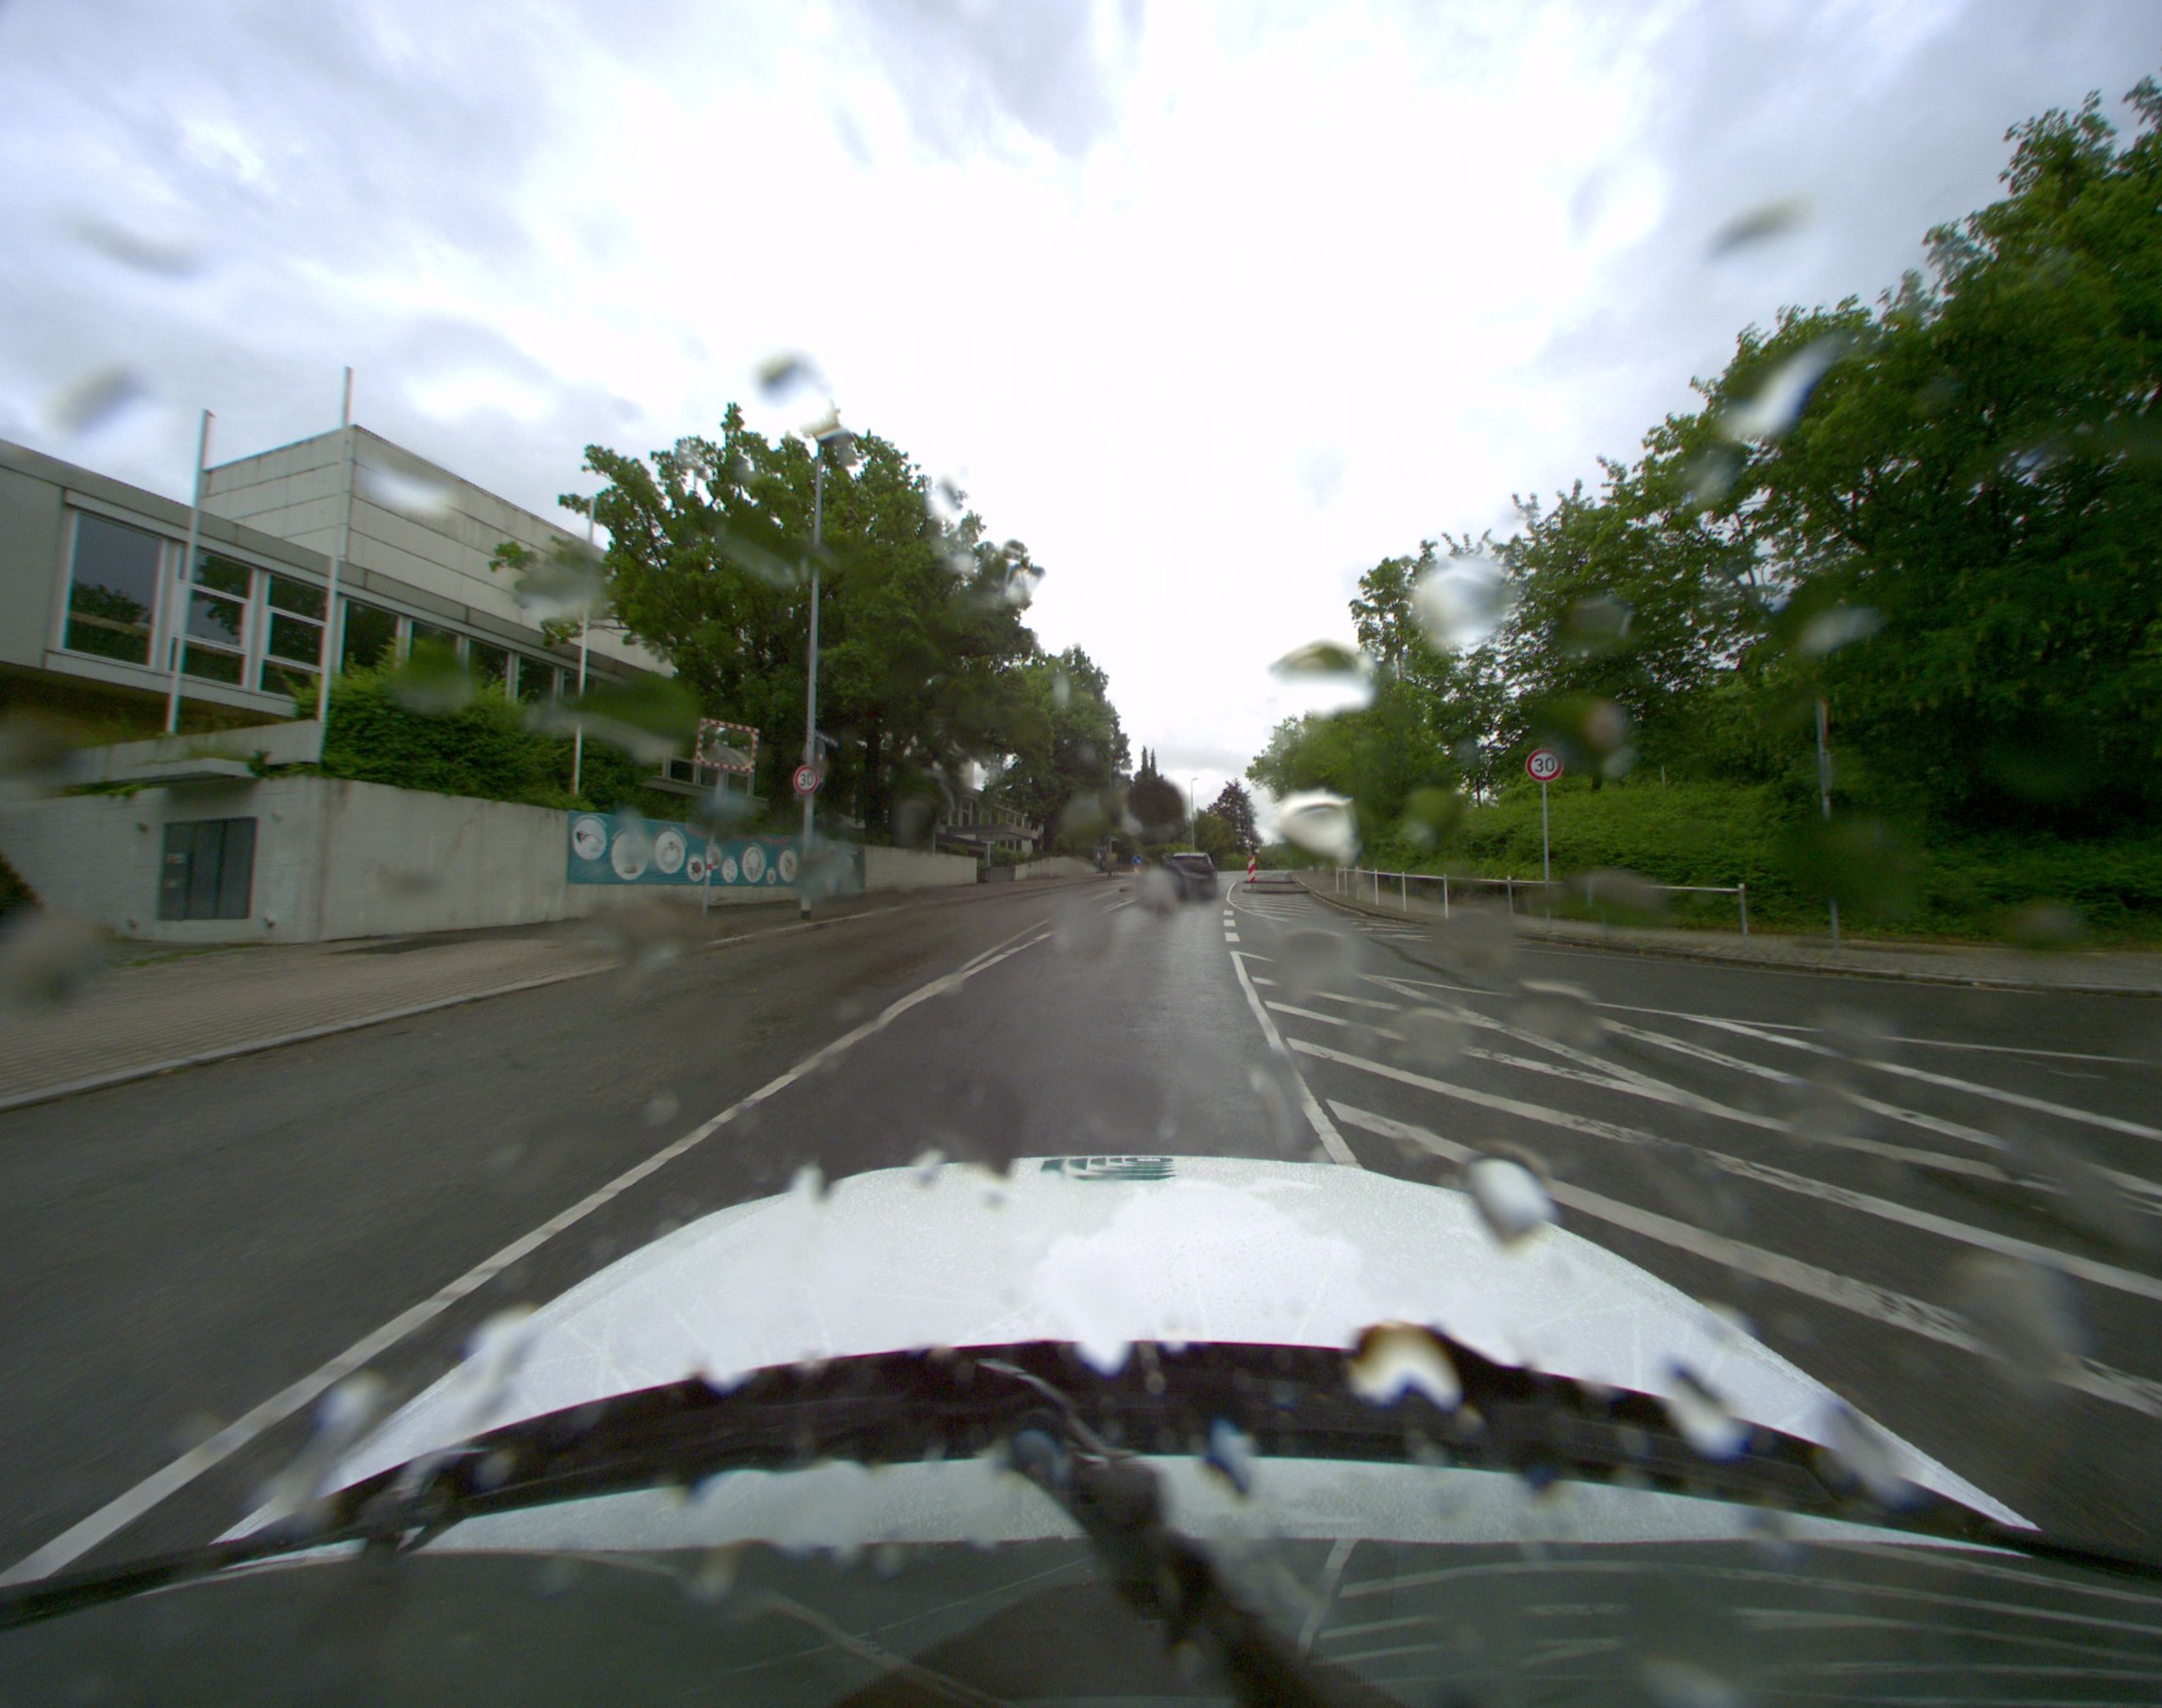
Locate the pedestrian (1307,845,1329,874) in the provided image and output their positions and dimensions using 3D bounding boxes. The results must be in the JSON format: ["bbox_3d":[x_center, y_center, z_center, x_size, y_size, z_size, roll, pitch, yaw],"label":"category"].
[{"bbox_3d":[14.298,0.331,49.200,1.077,1.722,1.169,-3,-1,9],"label":"pedestrian"}]

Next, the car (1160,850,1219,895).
[{"bbox_3d":[4.309,0.679,31.850,1.915,1.613,4.013,1,0,12],"label":"car"}]
